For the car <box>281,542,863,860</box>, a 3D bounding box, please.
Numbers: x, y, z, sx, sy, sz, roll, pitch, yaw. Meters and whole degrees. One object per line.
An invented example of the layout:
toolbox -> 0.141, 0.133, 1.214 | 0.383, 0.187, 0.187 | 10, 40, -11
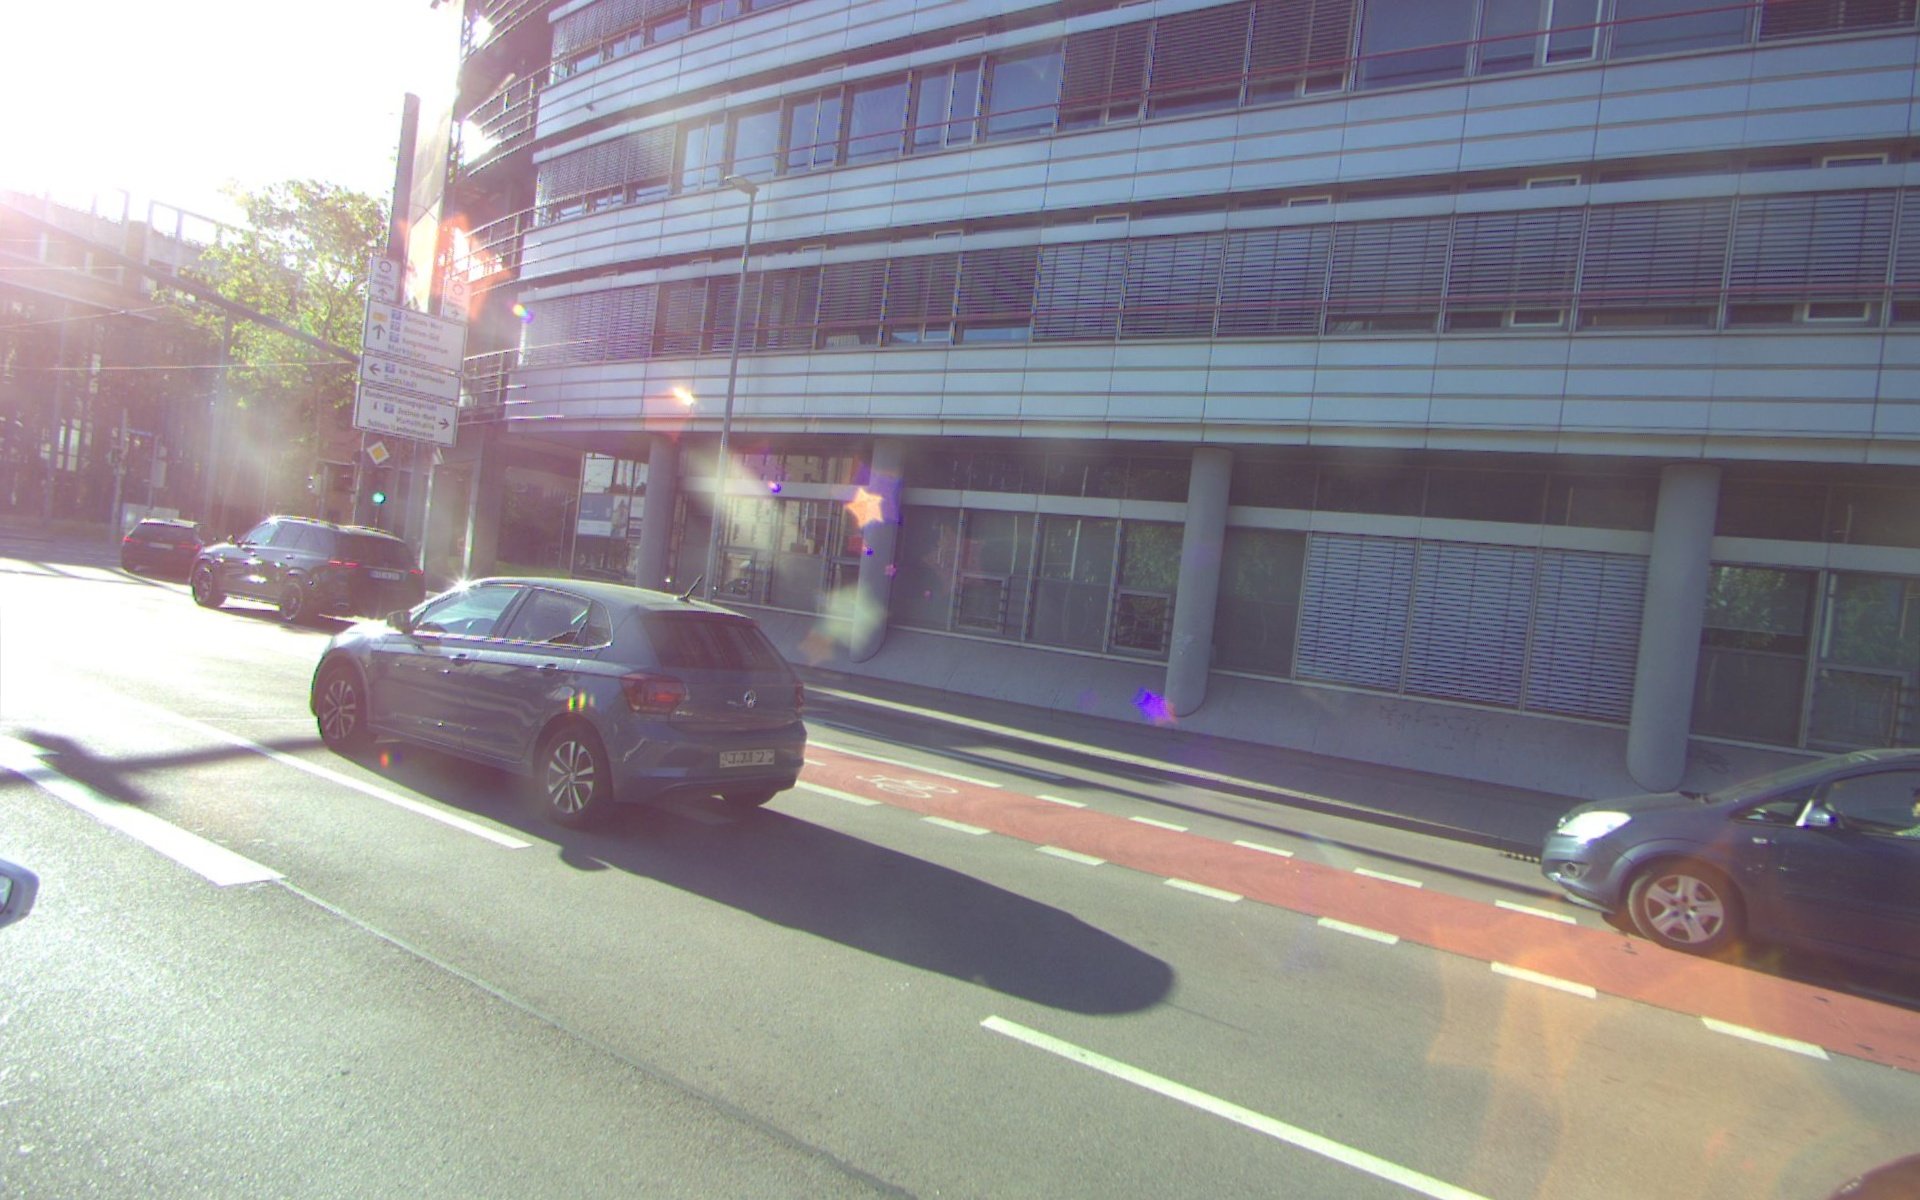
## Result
car -> -2.890, 0.576, 7.306 | 3.933, 1.474, 1.810 | 7, -1, 32

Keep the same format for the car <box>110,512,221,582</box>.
car -> -21.423, -1.454, 27.291 | 1.984, 1.436, 3.962 | 10, -2, -35

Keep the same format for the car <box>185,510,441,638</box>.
car -> -11.736, -0.479, 18.215 | 4.254, 1.771, 1.997 | 7, 0, 28

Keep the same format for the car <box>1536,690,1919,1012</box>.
car -> 6.486, 1.739, 6.593 | 4.395, 1.649, 1.688 | 7, 0, 37

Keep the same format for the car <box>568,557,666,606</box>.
car -> -15.578, -0.808, 45.899 | 1.831, 1.670, 4.001 | 7, -2, 24

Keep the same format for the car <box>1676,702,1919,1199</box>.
car -> 3.055, 1.120, 0.335 | 4.422, 1.510, 1.813 | 7, -1, 33
